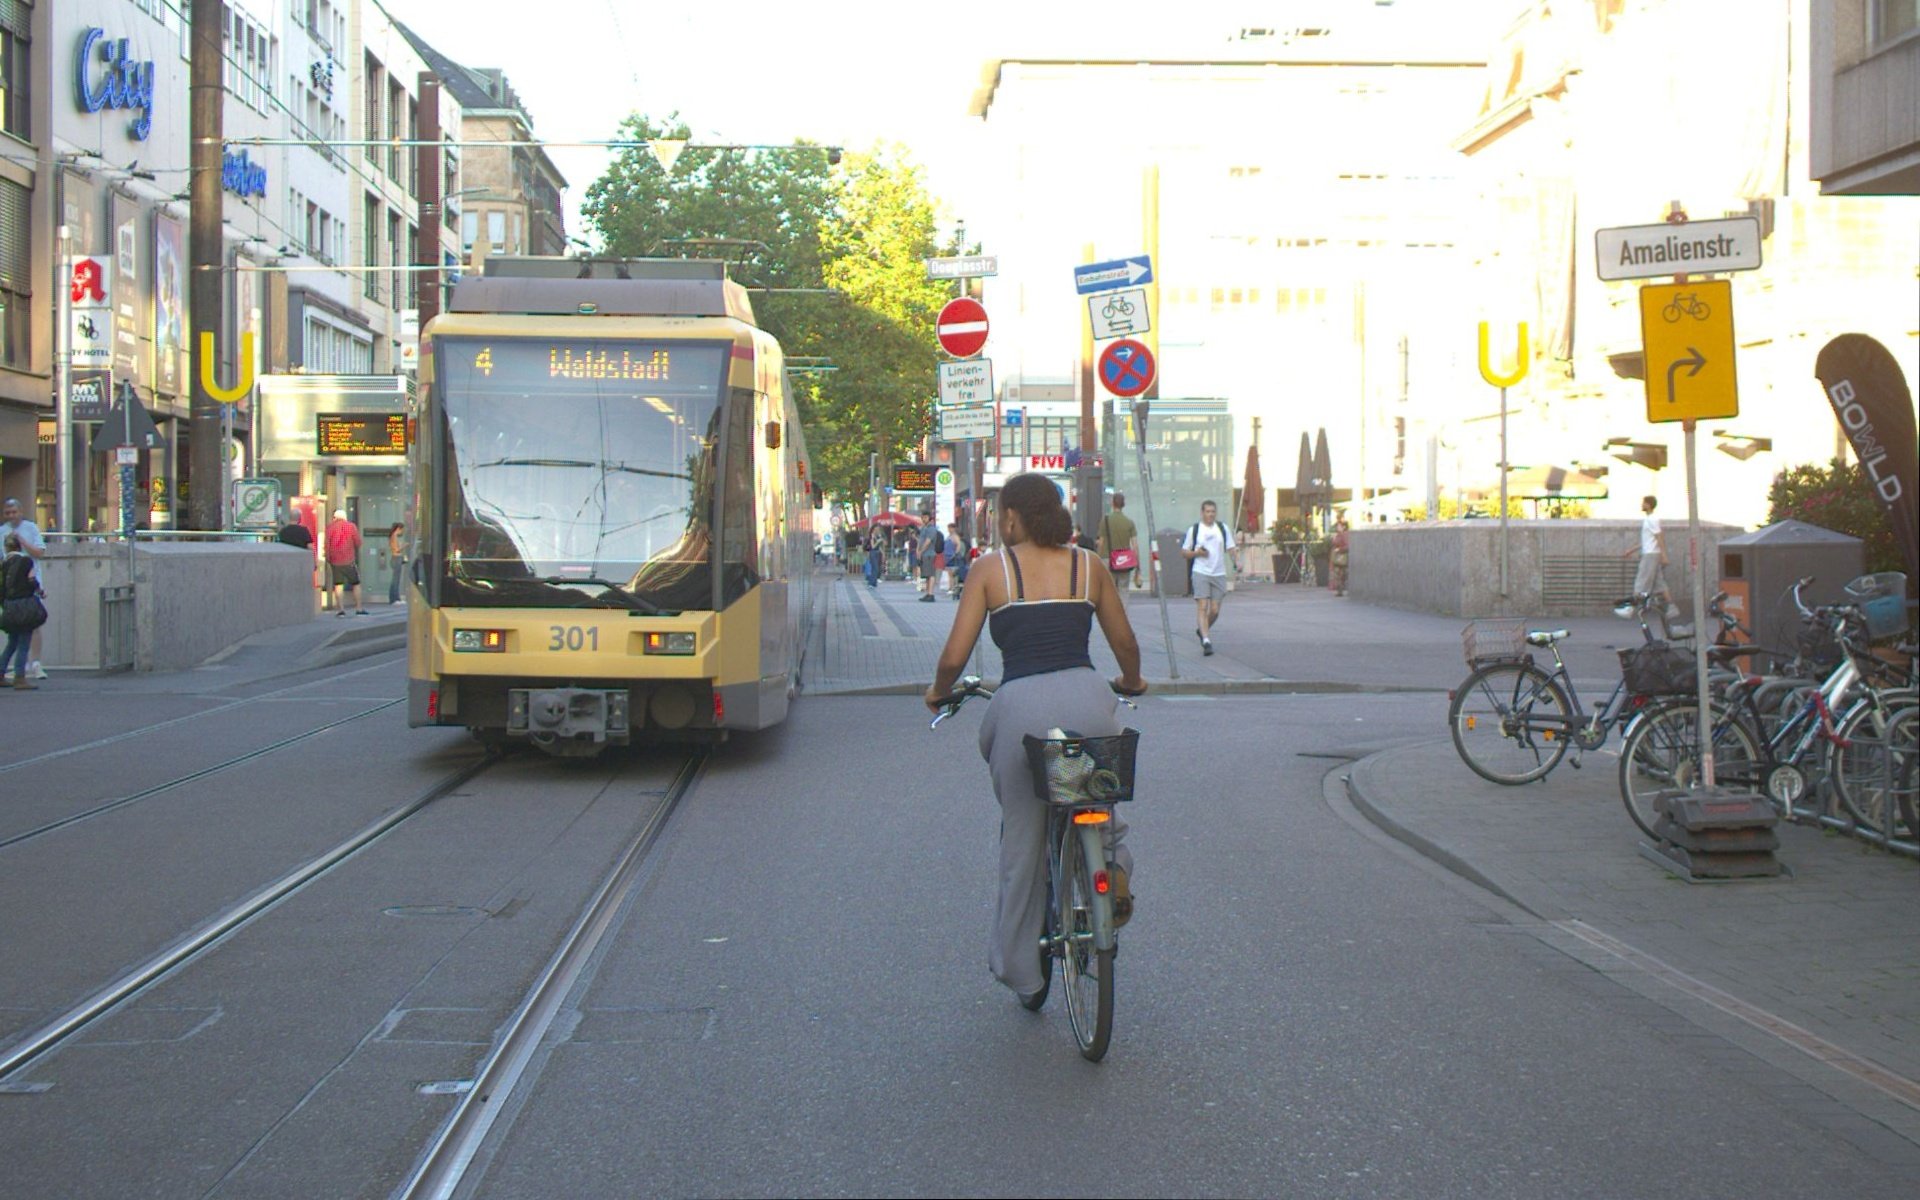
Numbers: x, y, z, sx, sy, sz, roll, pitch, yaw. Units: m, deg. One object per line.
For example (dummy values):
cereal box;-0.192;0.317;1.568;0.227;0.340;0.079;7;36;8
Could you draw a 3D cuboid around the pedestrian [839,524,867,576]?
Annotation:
pedestrian;-3.397;-1.600;109.320;0.767;1.655;0.794;0;1;7

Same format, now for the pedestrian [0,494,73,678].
pedestrian;-9.824;-0.149;36.394;0.773;1.919;0.709;0;0;-10

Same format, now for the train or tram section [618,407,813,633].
train or tram section;-3.905;-1.338;57.789;2.800;3.308;14.510;0;1;-2

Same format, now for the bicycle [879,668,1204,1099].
bicycle;0.197;0.798;10.456;0.815;1.069;2.114;2;1;-3

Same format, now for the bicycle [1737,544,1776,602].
bicycle;12.291;-0.422;53.072;0.315;0.864;1.000;-1;1;-3

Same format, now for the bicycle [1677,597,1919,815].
bicycle;4.915;0.542;18.450;1.914;1.074;0.763;-2;1;-6

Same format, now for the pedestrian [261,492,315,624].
pedestrian;-9.820;-0.612;50.260;0.713;1.918;0.709;0;0;-7

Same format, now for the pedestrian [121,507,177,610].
pedestrian;-12.577;-0.646;53.328;0.626;1.583;0.605;0;0;-44

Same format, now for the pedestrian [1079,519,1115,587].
pedestrian;3.392;-1.171;85.203;0.792;1.655;0.769;0;1;10

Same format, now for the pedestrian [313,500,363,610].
pedestrian;-9.664;-0.693;53.434;0.713;1.692;0.786;0;0;-8

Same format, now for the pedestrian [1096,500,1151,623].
pedestrian;2.291;-0.536;48.278;0.718;1.719;0.709;0;0;-2

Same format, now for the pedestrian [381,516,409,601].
pedestrian;-10.781;-0.791;65.548;0.511;1.612;0.505;0;0;-11

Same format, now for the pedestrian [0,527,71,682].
pedestrian;-9.270;0.042;34.255;0.684;1.536;0.605;0;0;-3

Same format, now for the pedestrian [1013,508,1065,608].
pedestrian;1.437;-0.774;62.885;0.733;1.817;0.820;0;1;-16

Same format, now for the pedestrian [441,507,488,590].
pedestrian;-10.323;-1.061;71.572;0.707;1.719;0.775;0;0;-32

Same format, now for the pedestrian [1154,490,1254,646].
pedestrian;2.961;-0.388;41.804;1.013;1.857;1.043;1;1;-6

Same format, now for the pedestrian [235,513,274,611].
pedestrian;-11.472;-0.623;55.904;0.603;1.583;0.628;0;0;-11

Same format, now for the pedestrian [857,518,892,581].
pedestrian;-2.228;-1.325;89.985;0.767;1.655;0.794;0;1;10

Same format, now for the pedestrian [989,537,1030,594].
pedestrian;1.045;-0.739;73.288;0.792;1.217;0.769;0;1;-5

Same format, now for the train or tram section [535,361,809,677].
train or tram section;-3.336;-1.008;43.280;2.800;3.308;14.510;0;1;-2

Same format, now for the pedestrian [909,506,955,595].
pedestrian;-0.582;-1.017;70.330;0.733;1.817;0.820;0;1;-16

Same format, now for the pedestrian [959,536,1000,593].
pedestrian;0.415;-0.759;74.076;0.792;1.217;0.769;0;1;-5

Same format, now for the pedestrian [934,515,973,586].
pedestrian;-0.148;-1.171;81.356;0.792;1.655;0.769;0;1;10

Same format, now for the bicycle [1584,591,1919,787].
bicycle;4.772;0.524;20.738;1.852;1.105;0.667;-1;1;-4

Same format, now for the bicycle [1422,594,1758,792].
bicycle;3.759;0.546;20.570;1.852;1.105;0.667;-1;1;-4

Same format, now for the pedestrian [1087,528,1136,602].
pedestrian;3.449;-0.796;78.066;0.767;1.655;0.794;-1;2;-43

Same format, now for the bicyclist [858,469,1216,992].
bicyclist;0.212;0.373;10.439;0.997;1.497;0.857;2;1;-2

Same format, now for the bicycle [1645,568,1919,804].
bicycle;4.893;0.456;19.195;1.914;1.218;0.763;-2;1;-6

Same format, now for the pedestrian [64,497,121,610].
pedestrian;-13.334;-0.706;52.853;0.605;1.719;0.626;0;0;45

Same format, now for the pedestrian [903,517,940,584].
pedestrian;-0.953;-1.248;86.129;0.792;1.655;0.769;0;1;10

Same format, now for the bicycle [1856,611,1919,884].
bicycle;5.083;0.605;15.238;1.995;1.151;0.726;-2;1;-6

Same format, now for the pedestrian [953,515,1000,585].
pedestrian;0.379;-1.145;78.103;0.768;1.573;0.793;1;1;28

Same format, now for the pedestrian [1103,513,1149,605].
pedestrian;3.347;-0.834;69.503;0.773;1.817;0.940;-1;1;-5

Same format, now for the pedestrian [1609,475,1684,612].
pedestrian;10.162;-0.832;50.929;0.914;2.007;0.772;1;1;-1

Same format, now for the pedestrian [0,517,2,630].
pedestrian;-14.952;-0.399;52.077;0.713;1.719;0.709;0;0;-3

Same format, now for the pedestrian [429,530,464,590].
pedestrian;-11.736;-0.908;78.606;0.707;1.374;0.720;0;0;-3

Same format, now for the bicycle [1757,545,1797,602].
bicycle;12.616;-0.417;53.082;0.315;0.864;1.000;-1;1;-3

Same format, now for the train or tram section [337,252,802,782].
train or tram section;-2.773;-0.678;28.762;2.800;3.308;14.510;0;1;-2

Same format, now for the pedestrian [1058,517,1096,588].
pedestrian;2.777;-1.131;81.573;0.792;1.655;0.769;0;1;10

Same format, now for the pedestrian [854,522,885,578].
pedestrian;-2.717;-1.511;103.701;0.792;1.655;0.769;0;1;10

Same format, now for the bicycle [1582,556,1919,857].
bicycle;4.029;0.486;16.434;1.914;1.328;0.726;-2;1;-6
